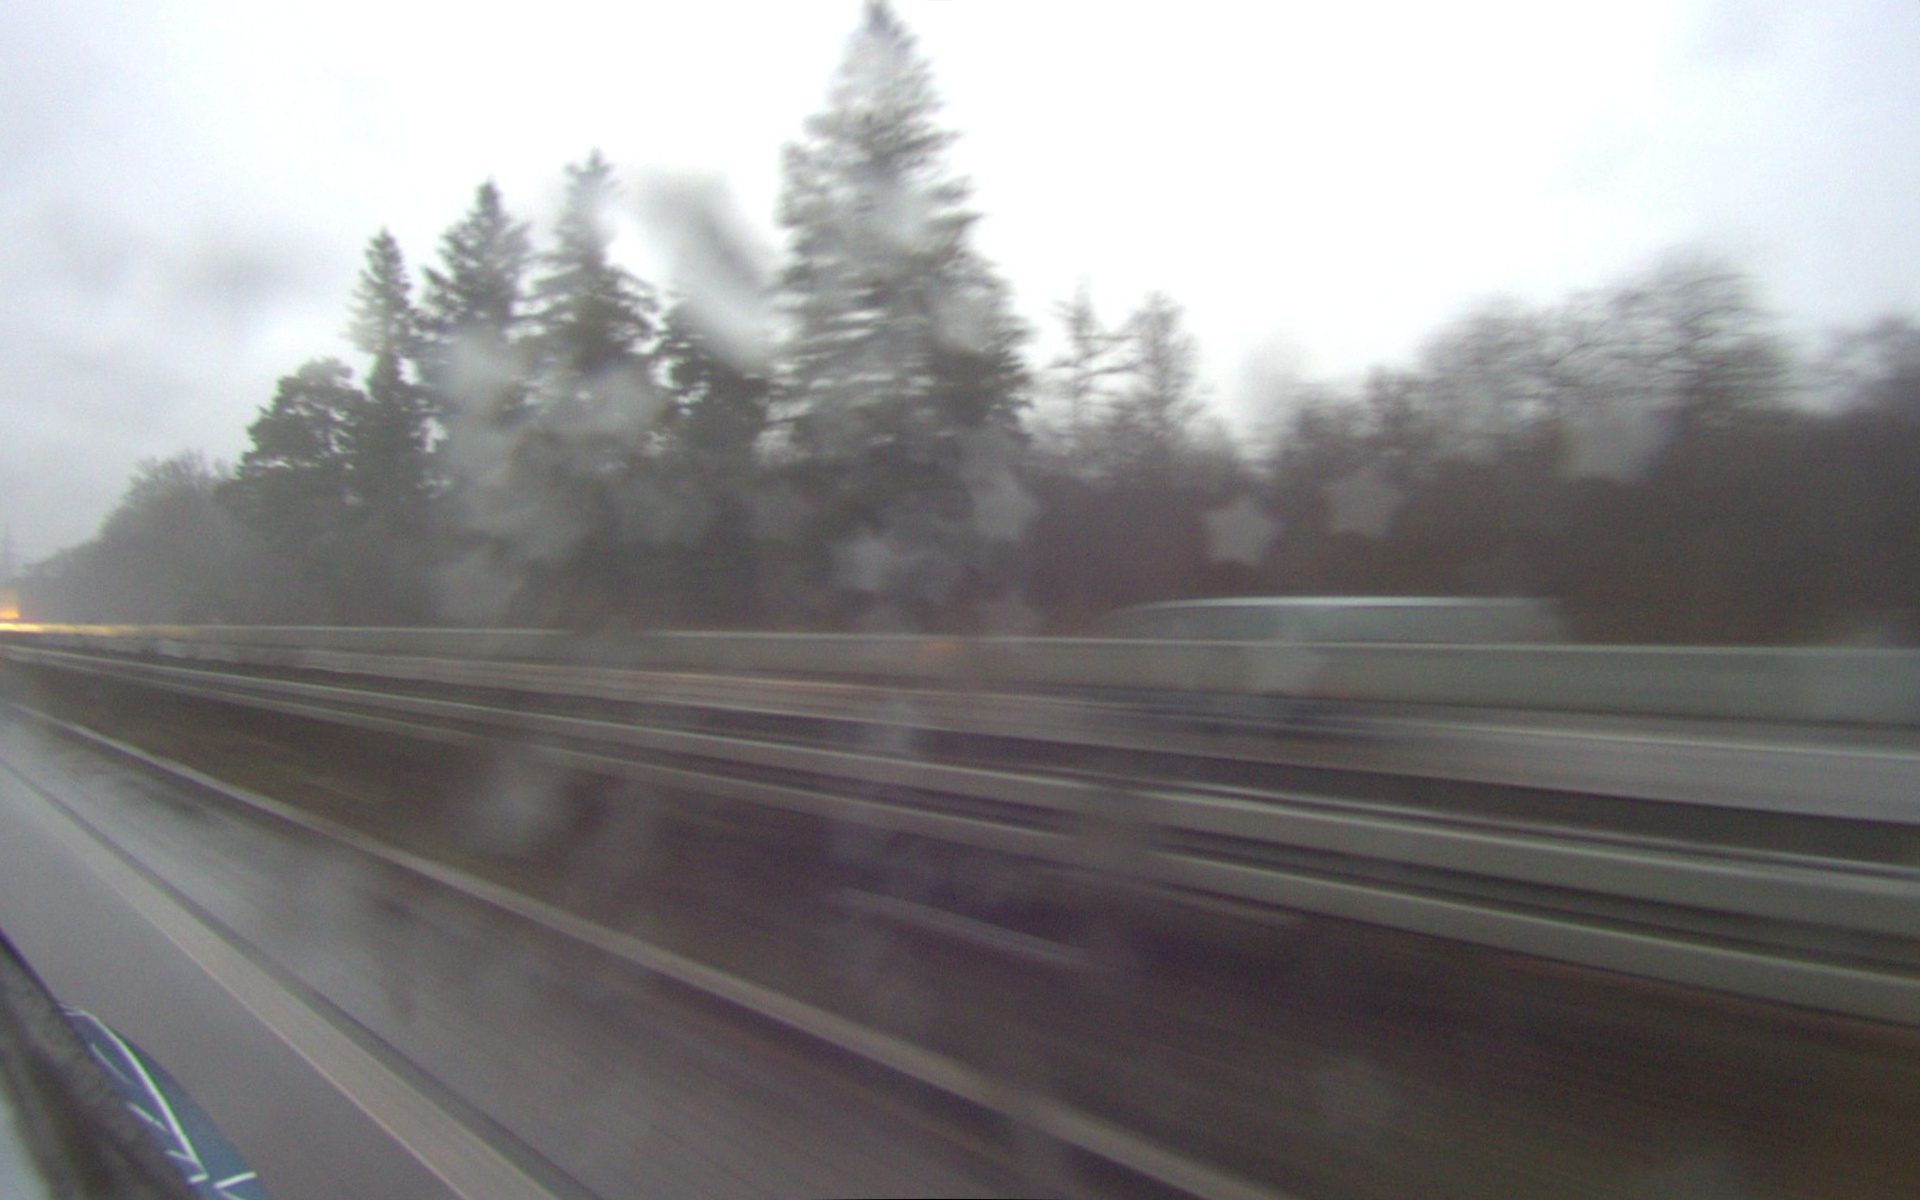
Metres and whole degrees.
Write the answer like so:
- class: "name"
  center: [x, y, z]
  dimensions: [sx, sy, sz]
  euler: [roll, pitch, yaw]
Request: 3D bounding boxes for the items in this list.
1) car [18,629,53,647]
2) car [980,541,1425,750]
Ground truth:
- class: "car"
  center: [-76.817, 3.144, 84.049]
  dimensions: [3.978, 1.399, 1.659]
  euler: [-1, -1, 40]
- class: "car"
  center: [2.725, 0.486, 12.081]
  dimensions: [4.779, 2.029, 1.974]
  euler: [-1, -1, 39]
